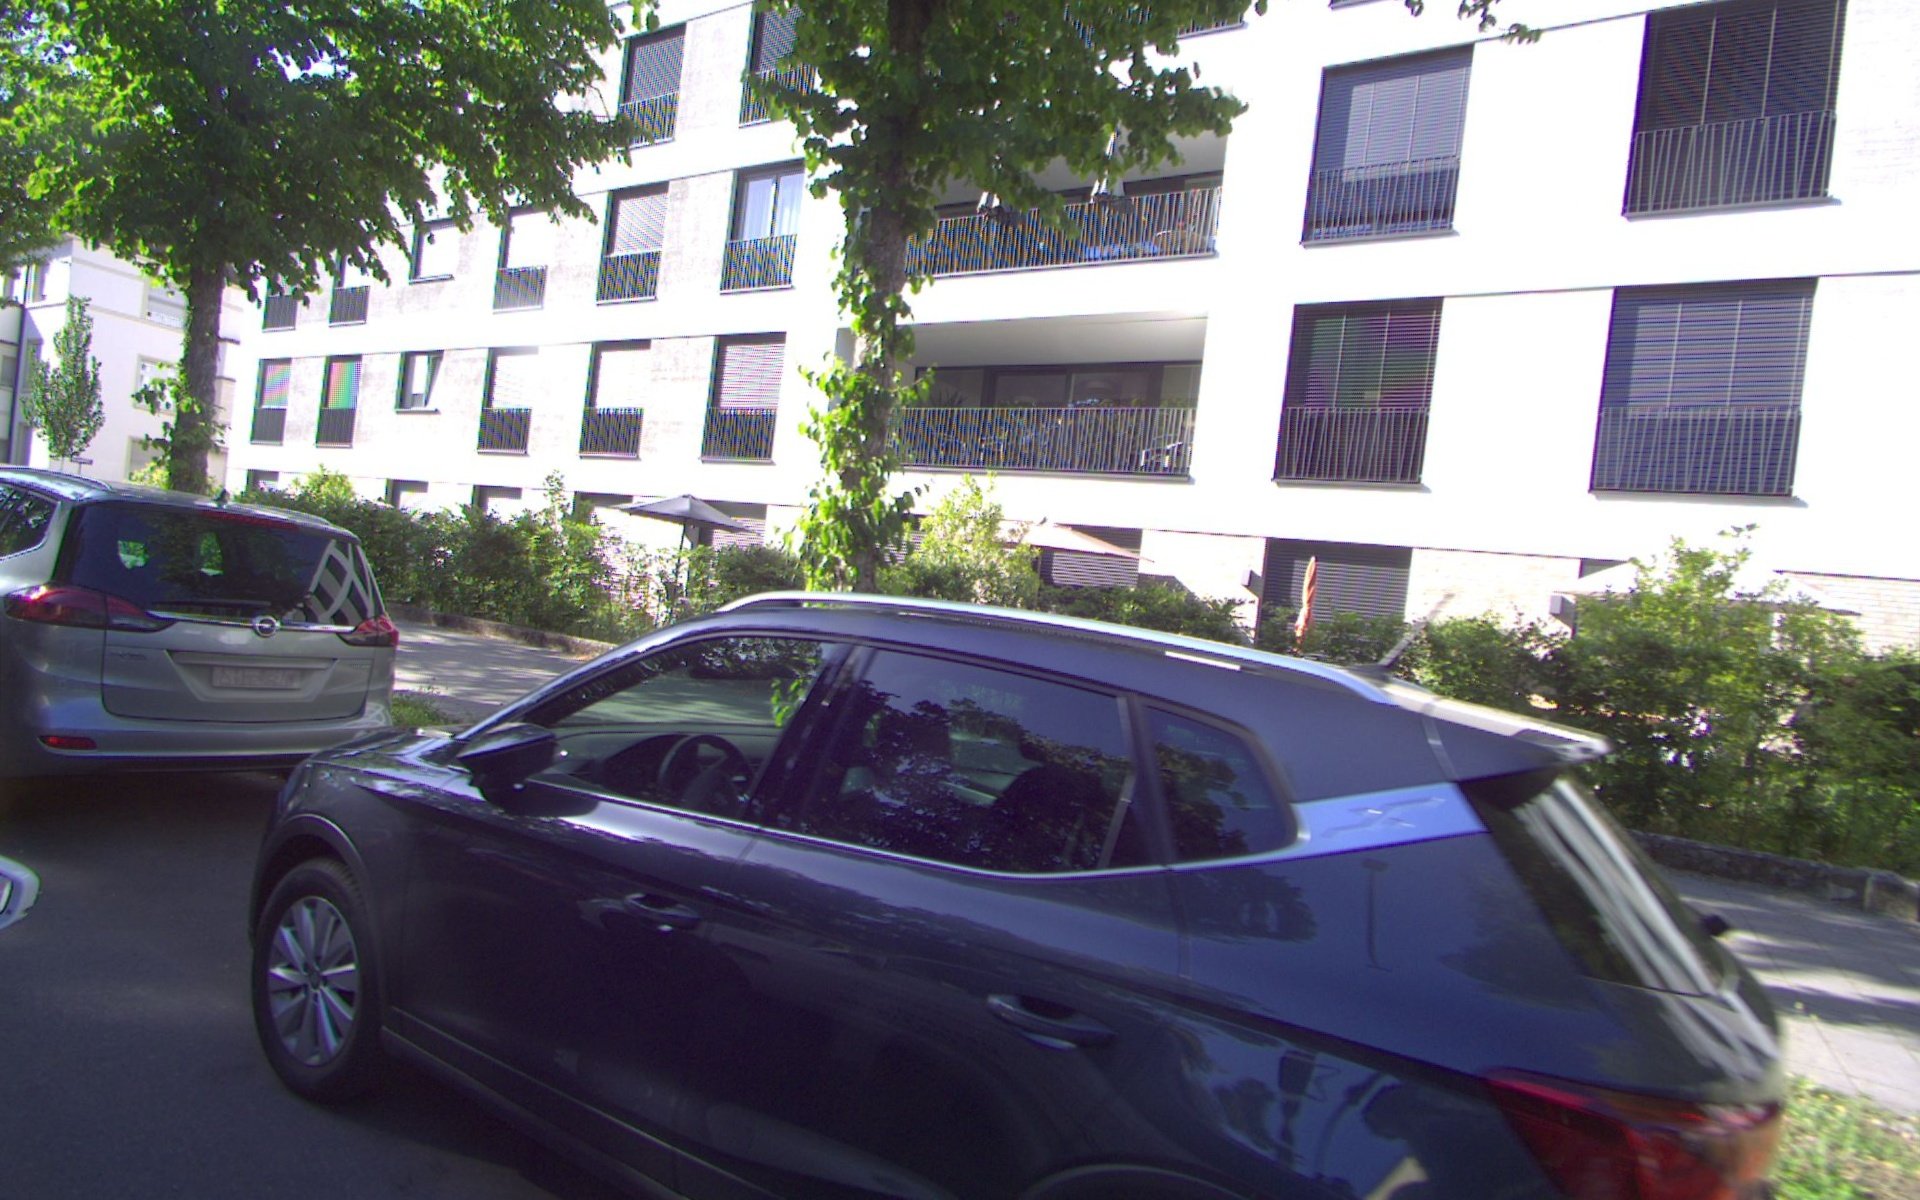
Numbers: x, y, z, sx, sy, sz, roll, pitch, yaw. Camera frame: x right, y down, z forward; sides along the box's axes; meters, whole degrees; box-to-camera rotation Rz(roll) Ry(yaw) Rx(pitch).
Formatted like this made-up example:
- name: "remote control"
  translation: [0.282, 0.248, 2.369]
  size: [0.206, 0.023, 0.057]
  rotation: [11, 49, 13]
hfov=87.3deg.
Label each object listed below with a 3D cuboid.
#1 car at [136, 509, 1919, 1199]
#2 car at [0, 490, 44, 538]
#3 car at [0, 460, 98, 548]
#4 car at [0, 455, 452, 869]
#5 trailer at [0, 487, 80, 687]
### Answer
- name: "car"
  translation: [-0.278, 0.758, 2.779]
  size: [4.273, 1.535, 1.720]
  rotation: [7, -1, 32]
- name: "car"
  translation: [-34.589, -3.217, 34.406]
  size: [4.705, 1.487, 1.928]
  rotation: [7, -1, -45]
- name: "car"
  translation: [-28.671, -2.989, 29.297]
  size: [2.192, 2.334, 5.059]
  rotation: [7, 0, 8]
- name: "car"
  translation: [-5.388, 0.113, 6.001]
  size: [4.738, 1.662, 1.796]
  rotation: [7, -2, 31]
- name: "trailer"
  translation: [-9.235, -0.298, 8.656]
  size: [3.140, 1.597, 1.577]
  rotation: [7, -2, 33]
